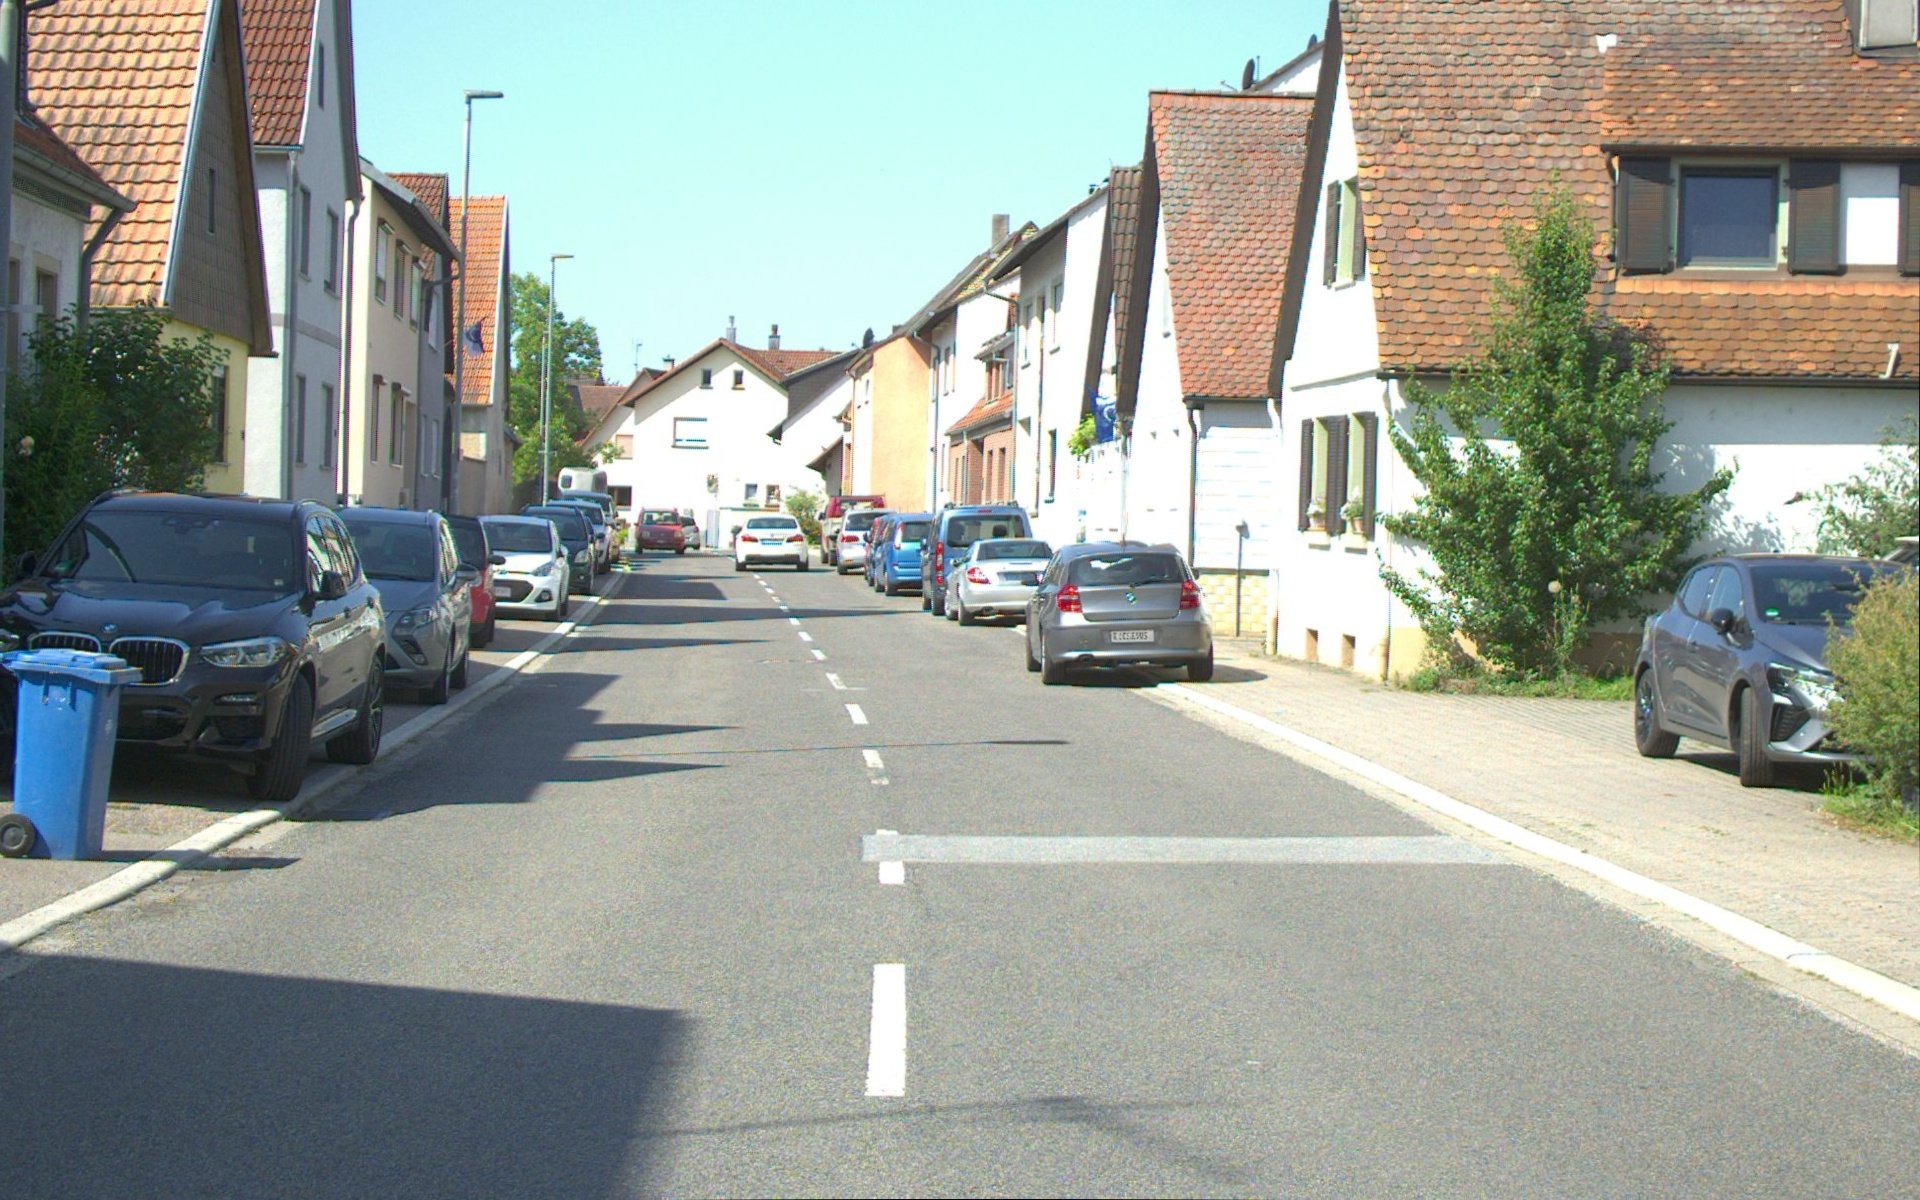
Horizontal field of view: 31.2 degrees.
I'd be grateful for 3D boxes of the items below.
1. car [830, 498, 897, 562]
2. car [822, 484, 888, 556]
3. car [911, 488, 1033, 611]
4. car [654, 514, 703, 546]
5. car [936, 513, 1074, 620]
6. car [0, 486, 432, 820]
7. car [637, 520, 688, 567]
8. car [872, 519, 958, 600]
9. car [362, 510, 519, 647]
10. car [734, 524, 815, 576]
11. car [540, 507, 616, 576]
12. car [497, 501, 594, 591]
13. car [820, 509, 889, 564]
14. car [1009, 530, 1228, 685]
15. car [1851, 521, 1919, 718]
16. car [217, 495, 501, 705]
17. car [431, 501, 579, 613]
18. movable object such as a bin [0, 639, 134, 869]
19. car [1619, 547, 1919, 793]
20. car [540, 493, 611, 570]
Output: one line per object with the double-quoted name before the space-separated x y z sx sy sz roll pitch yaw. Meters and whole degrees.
"car" -2.432 -1.751 85.825 1.420 1.510 3.305 2 1 -5
"car" -3.033 -2.282 98.939 1.766 1.997 3.450 1 1 -3
"car" 0.168 -0.855 57.129 1.649 1.903 3.626 2 1 -5
"car" -11.683 -2.886 142.685 1.993 1.284 3.804 1 1 -4
"car" 0.646 -0.531 52.243 1.704 1.491 3.453 2 1 -5
"car" -4.451 0.237 20.453 1.920 1.662 4.666 4 1 -1
"car" -9.971 -1.913 115.259 1.601 1.484 3.626 2 1 -5
"car" -0.917 -0.822 68.142 1.420 1.510 3.305 2 1 -5
"car" -6.285 -0.282 41.817 1.552 1.539 2.988 2 1 -3
"car" -4.824 -1.301 88.993 1.993 1.284 4.001 1 1 -4
"car" -8.391 -1.289 75.683 1.504 1.448 3.509 1 1 -4
"car" -7.836 -1.037 65.190 1.619 1.572 3.962 2 1 -5
"car" -2.900 -1.732 93.945 1.766 1.428 3.450 1 1 -3
"car" 1.574 0.036 35.495 1.704 1.428 3.890 2 1 -5
"car" 10.032 0.186 29.730 4.175 1.652 1.812 1 1 2
"car" -5.209 -0.048 30.363 1.872 1.631 4.665 2 1 -3
"car" -6.793 -0.667 51.677 1.806 1.542 4.404 2 1 -3
"movable object such as a bin" -4.101 0.687 15.518 0.596 0.979 0.531 3 1 -2
"car" 5.558 0.393 22.288 1.690 1.415 4.146 2 1 0
"car" -9.083 -1.627 81.390 1.527 1.707 3.626 2 1 -5
